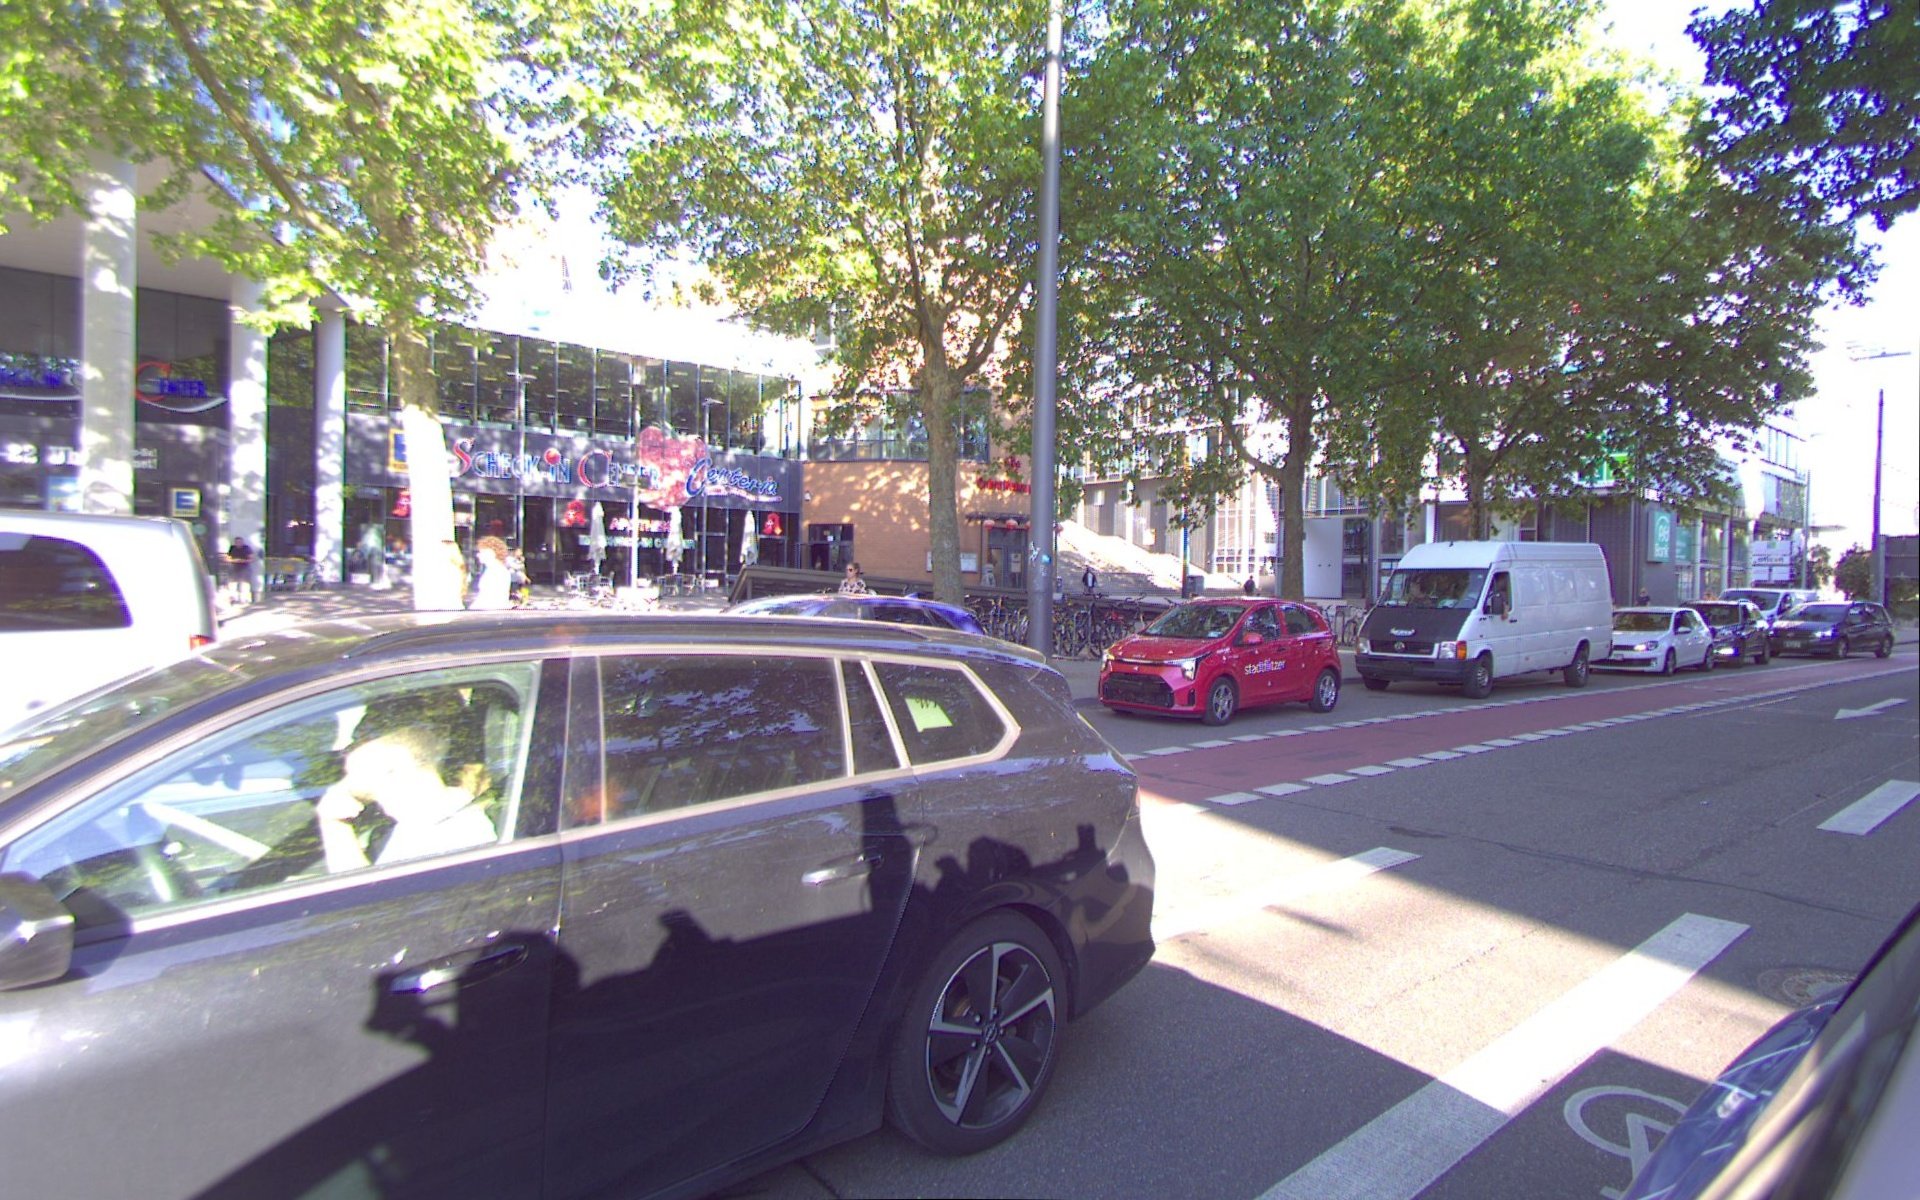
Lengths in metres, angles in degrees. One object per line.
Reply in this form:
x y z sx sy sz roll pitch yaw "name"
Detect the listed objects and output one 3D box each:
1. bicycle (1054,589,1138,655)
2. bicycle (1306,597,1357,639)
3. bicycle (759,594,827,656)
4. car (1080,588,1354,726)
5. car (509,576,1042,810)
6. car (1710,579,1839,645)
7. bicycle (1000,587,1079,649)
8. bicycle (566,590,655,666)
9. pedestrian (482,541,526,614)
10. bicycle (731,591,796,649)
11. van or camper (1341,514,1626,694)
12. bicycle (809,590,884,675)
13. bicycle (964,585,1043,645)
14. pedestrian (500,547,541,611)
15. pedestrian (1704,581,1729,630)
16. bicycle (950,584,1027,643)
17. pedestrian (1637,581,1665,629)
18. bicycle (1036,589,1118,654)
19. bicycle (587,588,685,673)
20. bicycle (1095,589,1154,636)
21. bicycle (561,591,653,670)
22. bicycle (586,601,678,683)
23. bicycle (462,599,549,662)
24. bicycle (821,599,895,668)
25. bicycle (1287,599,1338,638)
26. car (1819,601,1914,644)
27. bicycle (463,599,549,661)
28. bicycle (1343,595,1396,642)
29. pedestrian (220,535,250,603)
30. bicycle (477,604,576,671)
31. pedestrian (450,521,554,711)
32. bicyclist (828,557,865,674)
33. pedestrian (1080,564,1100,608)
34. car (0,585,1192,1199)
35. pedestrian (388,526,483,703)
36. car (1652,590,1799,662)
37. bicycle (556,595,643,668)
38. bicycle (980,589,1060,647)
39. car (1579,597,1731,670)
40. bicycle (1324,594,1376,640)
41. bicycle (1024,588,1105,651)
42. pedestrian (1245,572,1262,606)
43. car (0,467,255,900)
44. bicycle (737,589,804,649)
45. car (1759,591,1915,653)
2.619 0.404 19.364 1.818 1.209 0.481 0 1 -41 "bicycle"
10.307 0.485 28.043 1.766 1.108 0.522 0 2 -41 "bicycle"
-3.104 0.448 18.846 1.202 1.110 0.427 0 1 -40 "bicycle"
3.332 0.613 12.823 3.588 1.476 1.605 0 1 -41 "car"
-1.386 0.591 8.638 4.177 1.503 1.742 0 2 -41 "car"
26.536 0.353 32.907 4.863 2.020 1.968 0 1 -35 "car"
1.627 0.344 20.519 1.818 1.209 0.447 0 1 -41 "bicycle"
-5.361 0.410 15.587 0.372 1.110 1.269 2 1 41 "bicycle"
-11.491 -0.561 25.524 0.869 1.805 0.604 1 1 -11 "pedestrian"
-3.889 0.377 20.048 1.202 1.110 0.429 0 1 -40 "bicycle"
9.258 0.047 17.555 6.456 2.611 1.998 0 0 -39 "van or camper"
-1.757 0.488 15.749 1.126 1.271 0.379 0 1 -41 "bicycle"
0.933 0.301 21.347 1.818 1.209 0.458 0 1 -41 "bicycle"
-12.091 -0.589 27.868 0.801 1.728 0.709 2 1 34 "pedestrian"
28.074 0.181 37.546 0.443 1.790 0.627 0 1 -39 "pedestrian"
0.635 0.276 21.700 1.818 1.209 0.434 0 1 -41 "bicycle"
26.131 0.184 38.293 0.516 1.790 0.716 0 1 -39 "pedestrian"
2.297 0.393 19.749 1.818 1.209 0.448 0 1 -41 "bicycle"
-4.437 0.403 13.883 1.202 1.110 0.413 0 1 -40 "bicycle"
4.403 0.311 27.047 1.759 1.209 0.517 0 2 -41 "bicycle"
-5.159 0.428 14.839 1.202 1.110 0.396 0 1 -40 "bicycle"
-4.582 0.569 14.180 1.202 1.110 0.269 0 1 -40 "bicycle"
-6.960 0.457 15.542 1.198 0.930 0.442 1 1 -22 "bicycle"
-1.710 0.548 17.050 1.202 1.110 0.420 0 1 -40 "bicycle"
9.923 0.511 28.453 1.818 1.046 0.515 0 2 -41 "bicycle"
31.888 0.747 35.579 3.927 1.394 1.802 0 2 -38 "car"
-7.123 0.467 15.919 1.198 0.938 0.465 1 1 -22 "bicycle"
11.031 0.484 27.232 1.818 1.209 0.521 0 2 -41 "bicycle"
-18.772 -0.800 26.203 0.506 1.707 0.604 1 1 -23 "pedestrian"
-6.240 0.523 14.595 1.231 0.898 0.462 0 1 -40 "bicycle"
-4.735 0.153 10.461 0.800 1.868 0.642 1 1 -42 "pedestrian"
-1.772 0.232 15.781 0.392 1.782 0.390 0 1 -41 "bicyclist"
6.067 -0.663 47.349 0.861 2.062 0.585 1 1 6 "pedestrian"
-1.413 0.689 2.477 4.196 1.432 1.742 0 0 -41 "car"
-5.581 0.143 10.770 0.751 1.799 0.647 1 1 -42 "pedestrian"
19.198 0.598 25.333 4.148 1.640 1.819 0 1 -36 "car"
-5.791 0.489 16.313 0.414 1.110 1.269 2 1 41 "bicycle"
1.254 0.356 20.968 1.818 1.139 0.484 0 2 -41 "bicycle"
15.345 0.683 22.282 3.927 1.446 1.683 0 1 -38 "car"
10.663 0.440 27.630 1.818 1.209 0.495 0 2 -41 "bicycle"
2.108 0.367 20.258 1.818 1.209 0.484 0 1 -41 "bicycle"
13.657 -0.507 47.128 0.707 1.578 0.638 1 1 14 "pedestrian"
-6.219 0.360 4.394 5.008 2.004 1.940 0 2 -41 "car"
-3.645 0.348 19.504 1.202 1.110 0.444 0 1 -40 "bicycle"
25.230 0.589 29.097 4.242 1.640 1.970 0 1 -28 "car"
